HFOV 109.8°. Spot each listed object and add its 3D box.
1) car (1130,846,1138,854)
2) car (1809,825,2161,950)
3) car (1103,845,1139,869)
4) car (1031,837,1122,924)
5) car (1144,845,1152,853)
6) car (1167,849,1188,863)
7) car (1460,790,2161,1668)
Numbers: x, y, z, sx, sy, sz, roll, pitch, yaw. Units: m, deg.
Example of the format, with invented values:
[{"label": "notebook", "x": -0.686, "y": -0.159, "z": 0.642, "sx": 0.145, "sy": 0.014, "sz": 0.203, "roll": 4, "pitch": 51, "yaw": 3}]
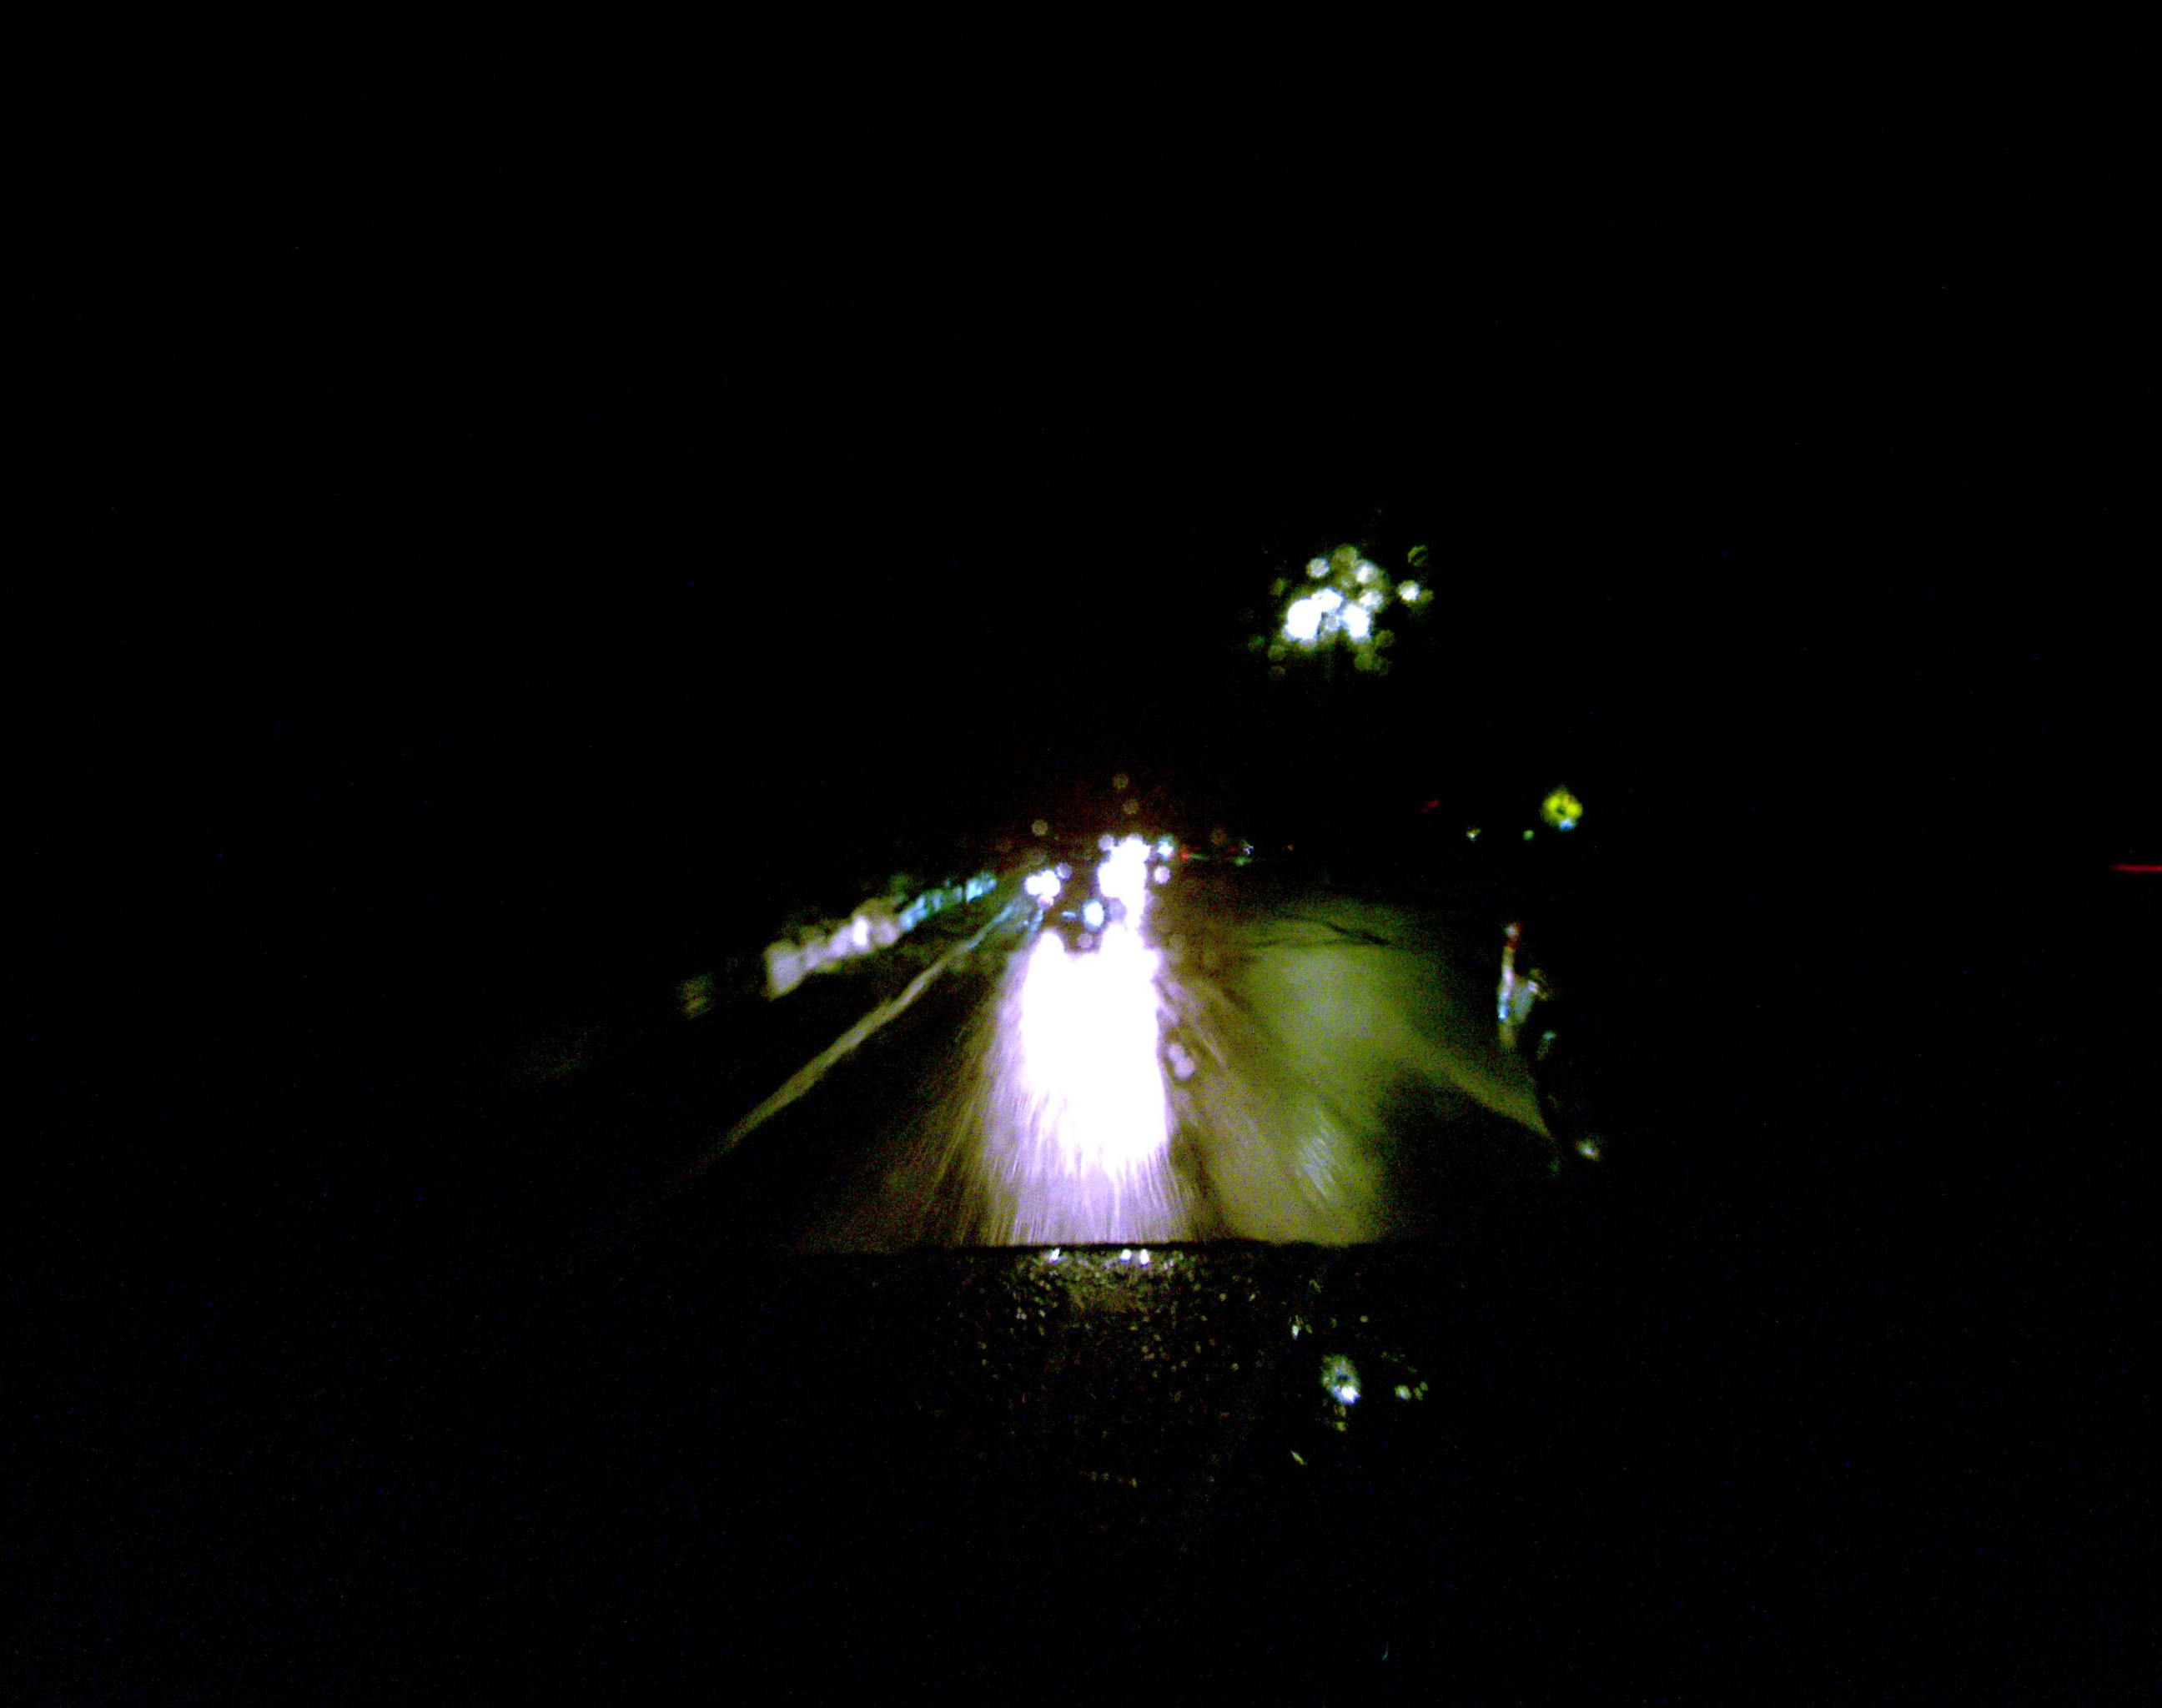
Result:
[{"label": "car", "x": 11.568, "y": -0.906, "z": 166.189, "sx": 1.750, "sy": 1.495, "sz": 4.893, "roll": -1, "pitch": 2, "yaw": 4}, {"label": "car", "x": 14.488, "y": 0.367, "z": 11.747, "sx": 1.796, "sy": 1.562, "sz": 4.913, "roll": -1, "pitch": 1, "yaw": 1}, {"label": "car", "x": 2.601, "y": 0.161, "z": 50.105, "sx": 1.999, "sy": 1.456, "sz": 3.998, "roll": -1, "pitch": 2, "yaw": -2}, {"label": "car", "x": 0.012, "y": 0.527, "z": 18.103, "sx": 1.877, "sy": 1.825, "sz": 4.205, "roll": -1, "pitch": 1, "yaw": 3}, {"label": "car", "x": 18.748, "y": -1.449, "z": 212.788, "sx": 1.997, "sy": 2.002, "sz": 4.001, "roll": -1, "pitch": 2, "yaw": 7}, {"label": "car", "x": 11.360, "y": 0.191, "z": 89.870, "sx": 1.658, "sy": 1.490, "sz": 4.373, "roll": 2, "pitch": 1, "yaw": -3}, {"label": "car", "x": 3.032, "y": 0.710, "z": 1.679, "sx": 1.914, "sy": 1.694, "sz": 4.938, "roll": -1, "pitch": 1, "yaw": 0}]
